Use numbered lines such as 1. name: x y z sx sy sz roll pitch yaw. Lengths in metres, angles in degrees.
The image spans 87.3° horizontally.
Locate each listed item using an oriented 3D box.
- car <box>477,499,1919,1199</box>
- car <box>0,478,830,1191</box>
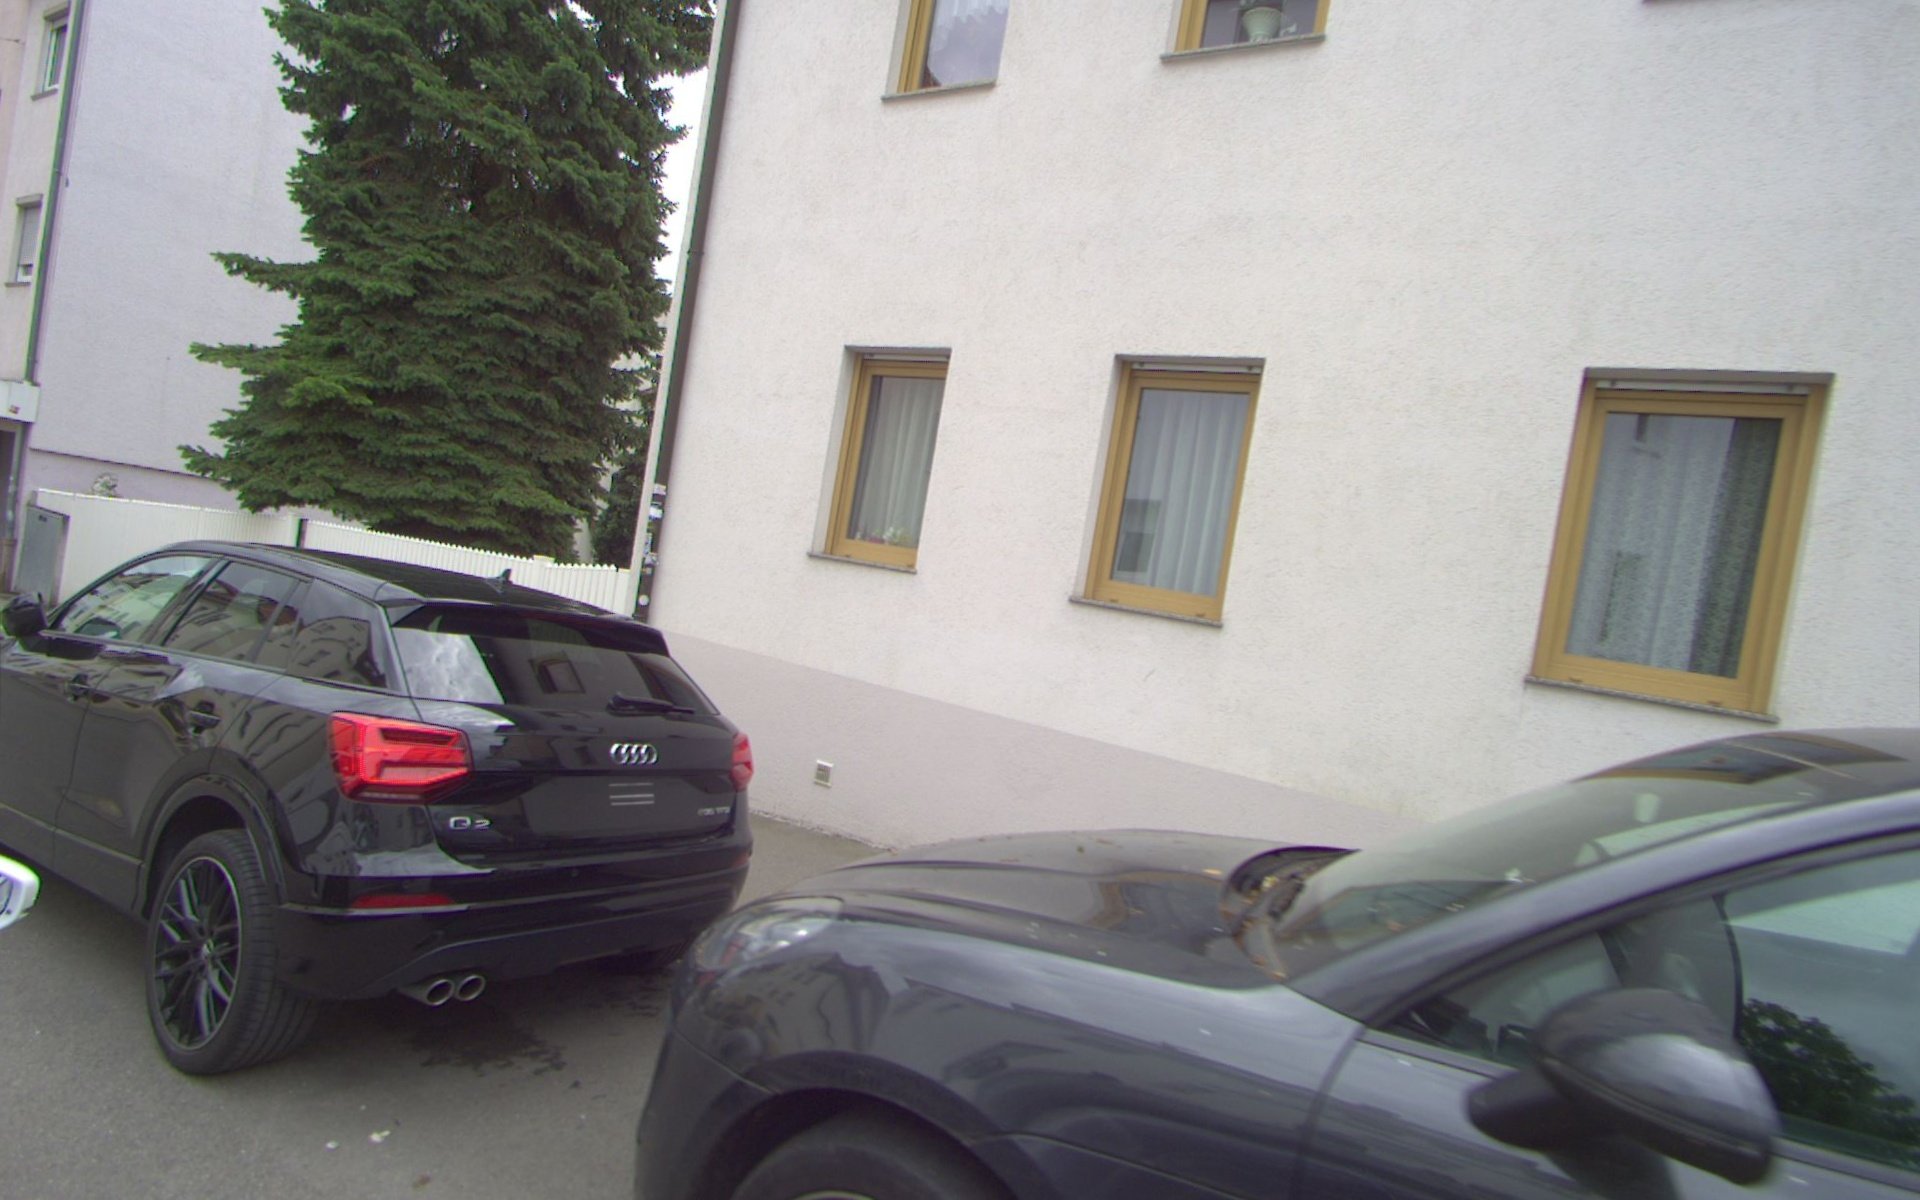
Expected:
1. car: 1.454 0.948 1.588 4.422 1.614 1.718 8 -2 30
2. car: -2.734 0.497 4.195 4.005 1.583 1.719 8 -2 32
